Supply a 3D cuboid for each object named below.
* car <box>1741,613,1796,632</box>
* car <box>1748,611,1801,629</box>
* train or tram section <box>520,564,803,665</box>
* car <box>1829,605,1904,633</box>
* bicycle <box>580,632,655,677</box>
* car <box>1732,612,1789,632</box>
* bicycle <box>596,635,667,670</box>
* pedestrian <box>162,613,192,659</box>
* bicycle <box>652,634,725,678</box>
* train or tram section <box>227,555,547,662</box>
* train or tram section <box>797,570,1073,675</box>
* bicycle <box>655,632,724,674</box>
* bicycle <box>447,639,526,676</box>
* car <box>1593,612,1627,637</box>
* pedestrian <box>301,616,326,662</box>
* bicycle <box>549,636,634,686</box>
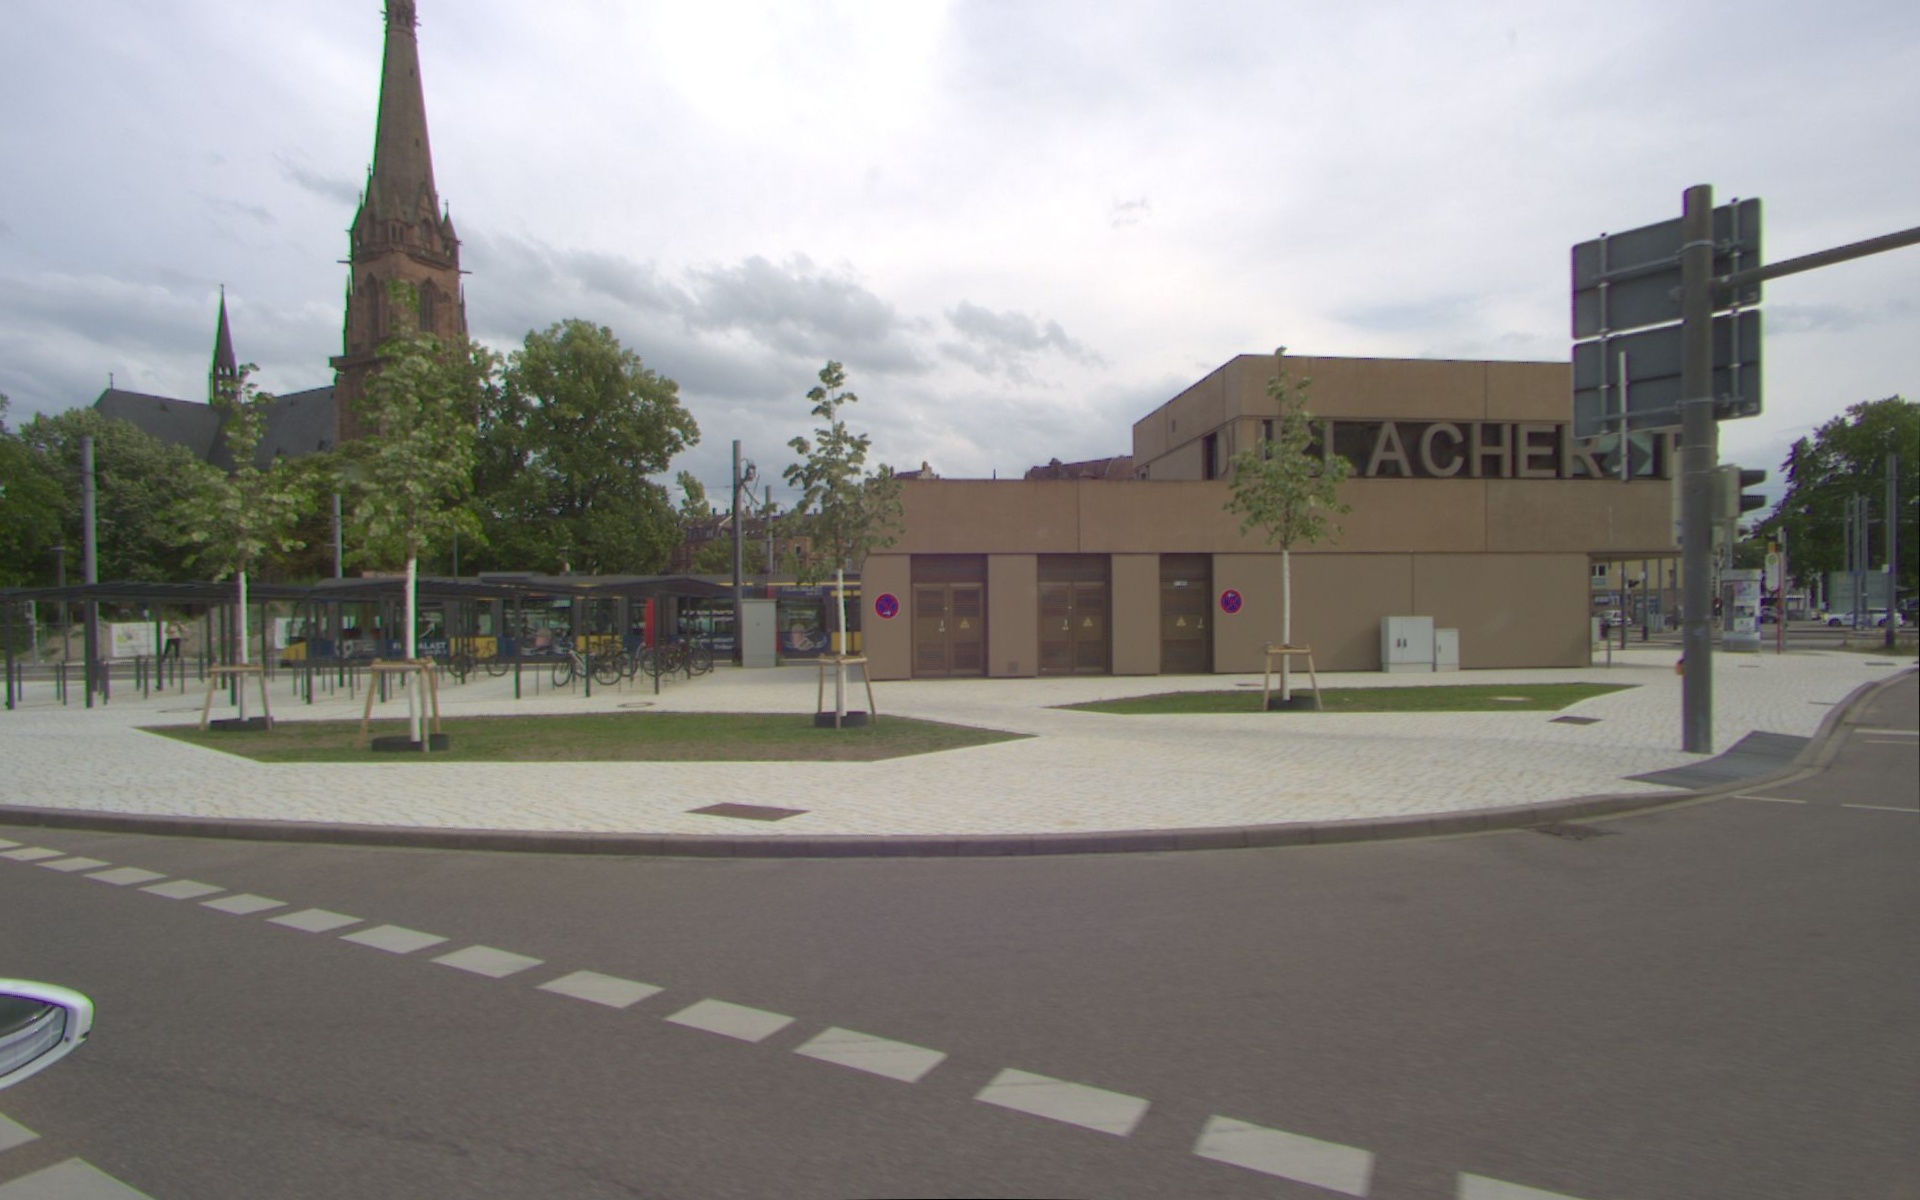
[{"bbox_3d":[77.902,2.163,96.551,3.957,1.706,1.591,2,1,44],"label":"car"},{"bbox_3d":[82.470,1.984,101.404,3.957,1.706,1.591,2,1,44],"label":"car"},{"bbox_3d":[-10.443,0.513,35.972,9.250,3.256,3.061,2,1,-6],"label":"train or tram section"},{"bbox_3d":[65.700,1.341,72.654,3.954,1.879,1.983,2,1,42],"label":"car"},{"bbox_3d":[-9.482,1.510,27.775,1.931,1.172,0.583,1,1,-15],"label":"bicycle"},{"bbox_3d":[74.544,2.075,93.248,3.957,1.706,1.591,2,1,44],"label":"car"},{"bbox_3d":[-9.883,1.590,30.156,1.929,0.983,0.583,2,1,-9],"label":"bicycle"},{"bbox_3d":[-31.573,1.450,40.358,0.743,1.825,0.817,2,1,40],"label":"pedestrian"},{"bbox_3d":[-7.558,1.563,27.907,1.931,1.172,0.583,1,1,-15],"label":"bicycle"},{"bbox_3d":[-19.665,0.300,34.934,9.191,3.321,3.061,2,1,-6],"label":"train or tram section"},{"bbox_3d":[-0.972,0.821,37.070,9.740,3.496,3.061,2,1,-6],"label":"train or tram section"},{"bbox_3d":[-7.909,1.551,29.319,1.931,1.172,0.583,1,1,-15],"label":"bicycle"},{"bbox_3d":[-13.418,1.634,28.428,1.929,0.968,0.583,2,1,-9],"label":"bicycle"},{"bbox_3d":[56.463,2.143,86.972,1.976,2.040,3.969,2,1,40],"label":"car"},{"bbox_3d":[-26.235,1.573,40.641,0.666,1.825,0.522,1,1,-13],"label":"pedestrian"},{"bbox_3d":[-9.173,1.522,25.007,1.931,1.172,0.583,1,1,-15],"label":"bicycle"}]
